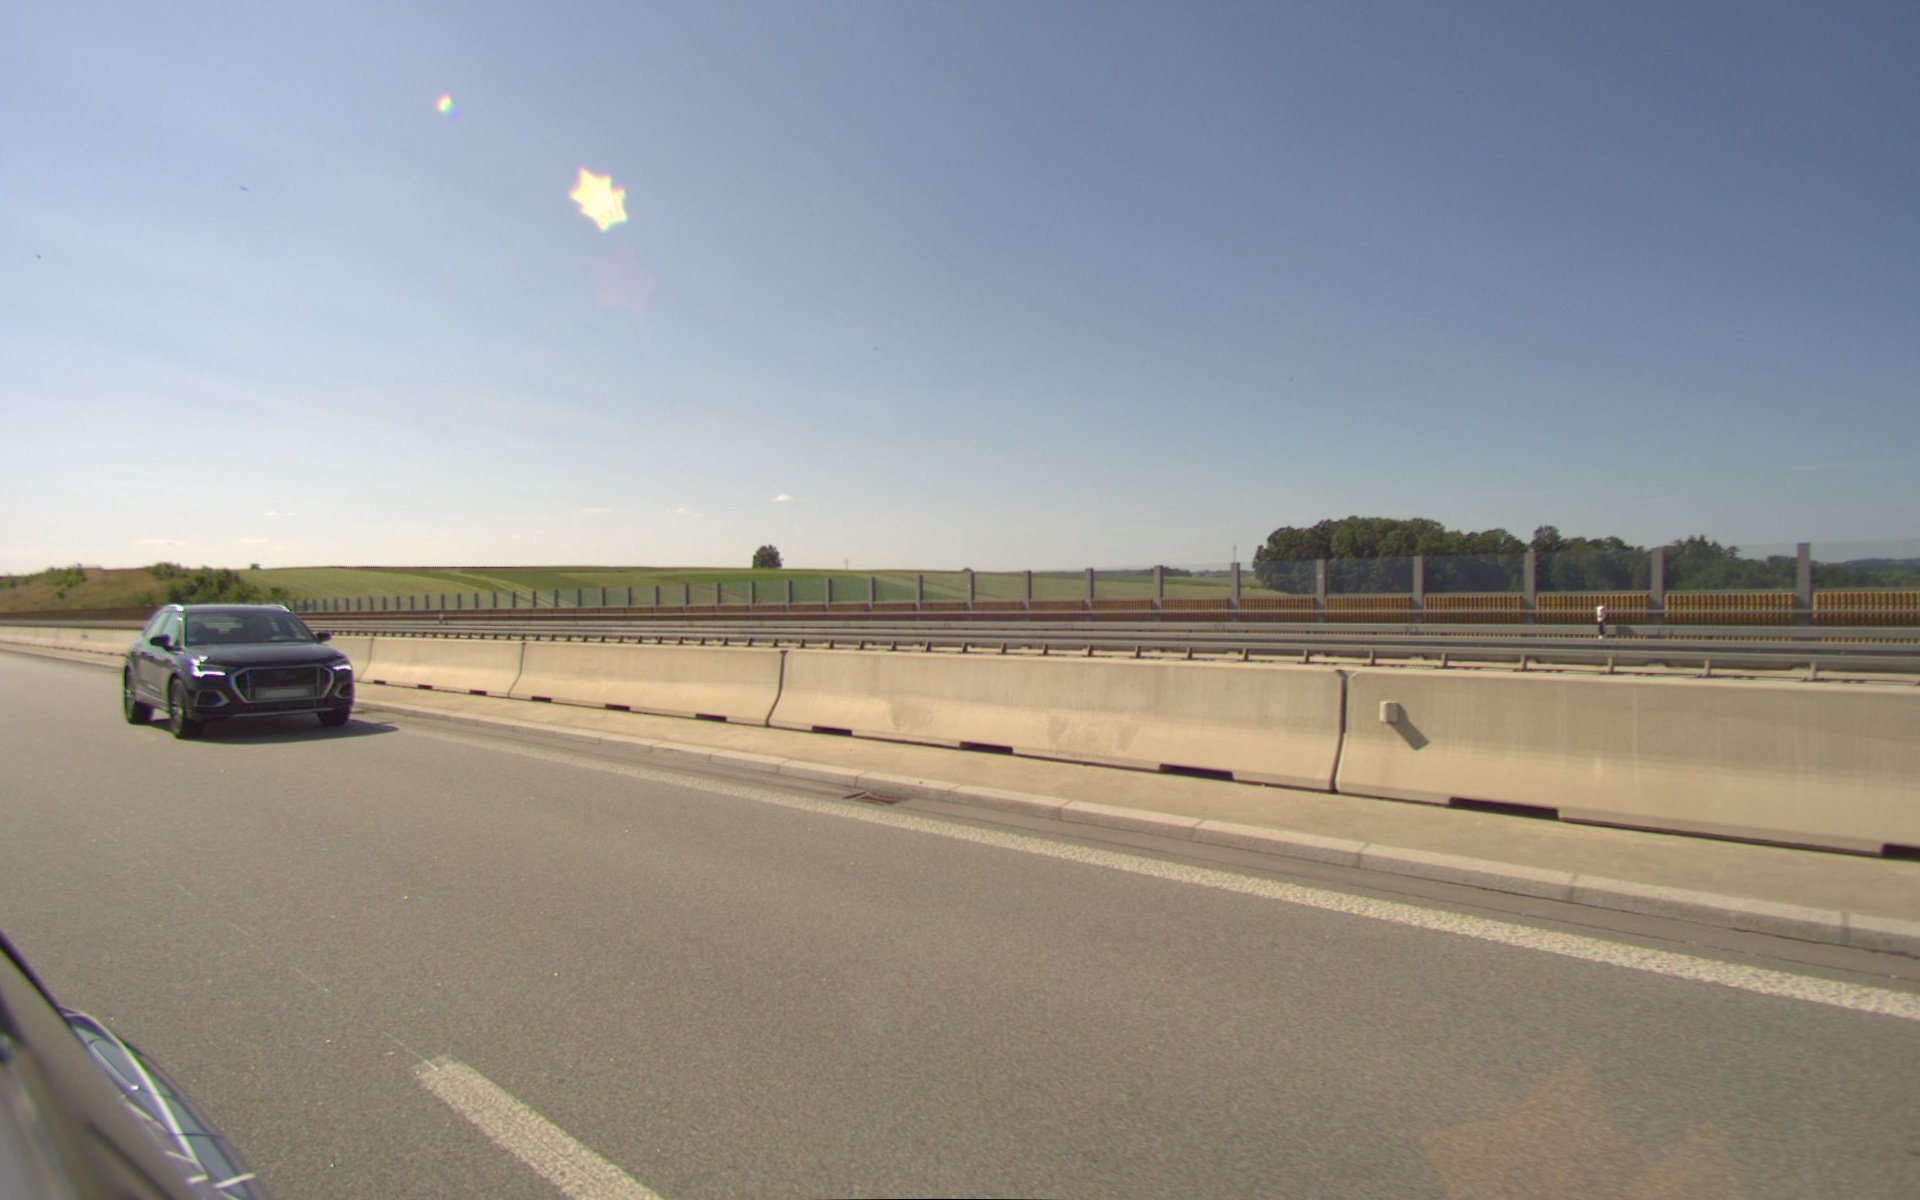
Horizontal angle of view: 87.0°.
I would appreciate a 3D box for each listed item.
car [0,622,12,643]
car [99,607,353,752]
[{"bbox_3d":[-97.563,3.260,102.423,4.760,2.029,1.972,-1,-1,42],"label":"car"},{"bbox_3d":[-10.047,0.930,13.667,5.220,1.600,1.704,-1,-1,42],"label":"car"}]
